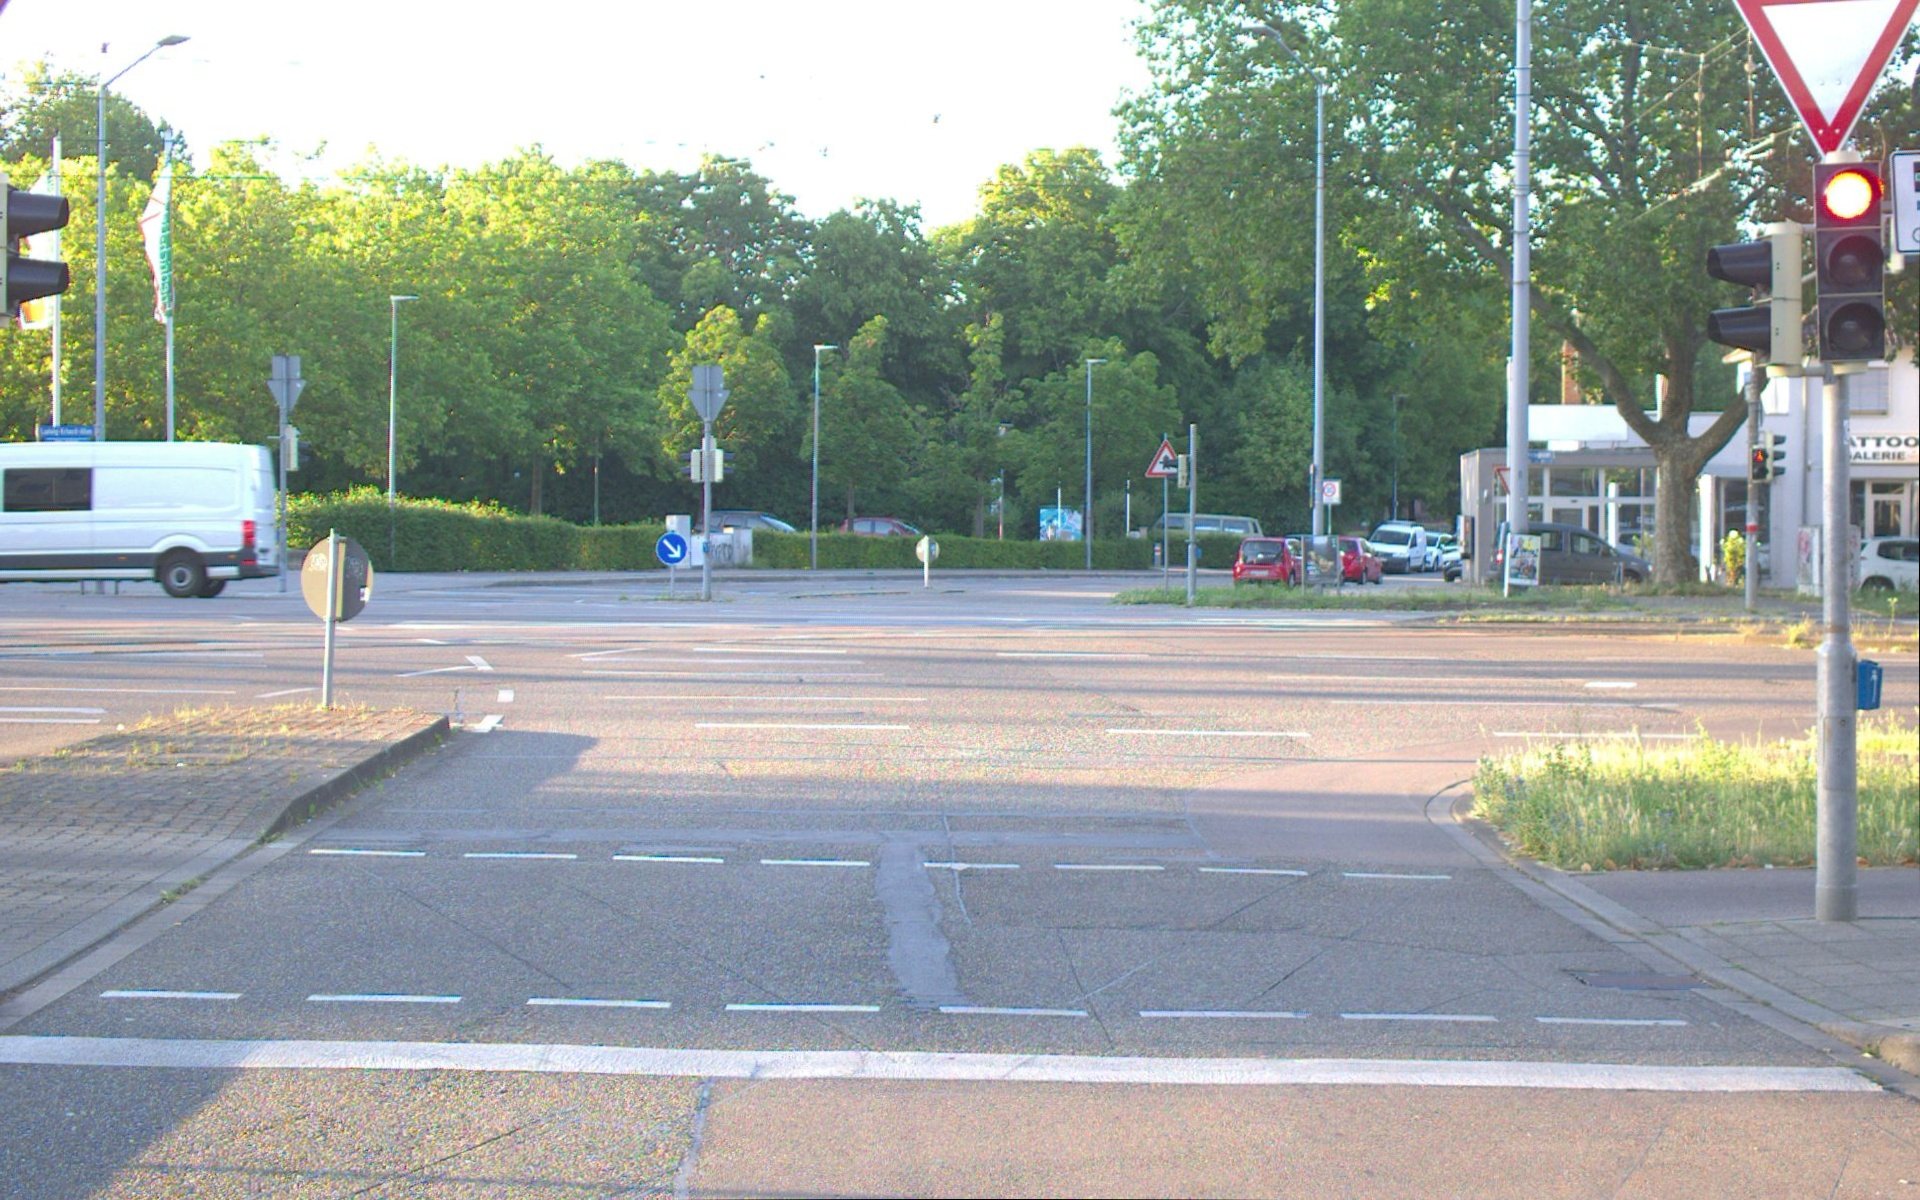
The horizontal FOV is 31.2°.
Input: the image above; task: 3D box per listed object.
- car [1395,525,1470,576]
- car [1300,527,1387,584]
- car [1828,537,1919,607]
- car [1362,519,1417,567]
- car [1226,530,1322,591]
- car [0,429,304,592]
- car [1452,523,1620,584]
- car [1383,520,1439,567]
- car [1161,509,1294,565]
[{"bbox_3d":[15.914,-1.660,115.589,1.995,1.656,3.997,1,0,15],"label":"car"},{"bbox_3d":[11.549,-1.323,103.364,1.995,1.656,3.997,1,0,15],"label":"car"},{"bbox_3d":[20.242,-0.578,72.225,3.741,1.435,1.663,1,0,9],"label":"car"},{"bbox_3d":[16.419,-2.171,131.180,1.864,1.788,3.998,1,0,10],"label":"car"},{"bbox_3d":[8.769,-1.084,95.678,1.995,1.656,3.997,1,0,15],"label":"car"},{"bbox_3d":[-14.666,-1.474,57.300,6.918,2.627,2.811,0,0,0],"label":"car"},{"bbox_3d":[14.905,-1.203,89.159,4.220,1.547,1.999,1,0,7],"label":"car"},{"bbox_3d":[17.874,-2.233,136.074,1.864,1.788,3.998,1,0,12],"label":"car"},{"bbox_3d":[9.774,-2.300,125.865,4.774,1.999,2.000,0,0,2],"label":"car"}]
